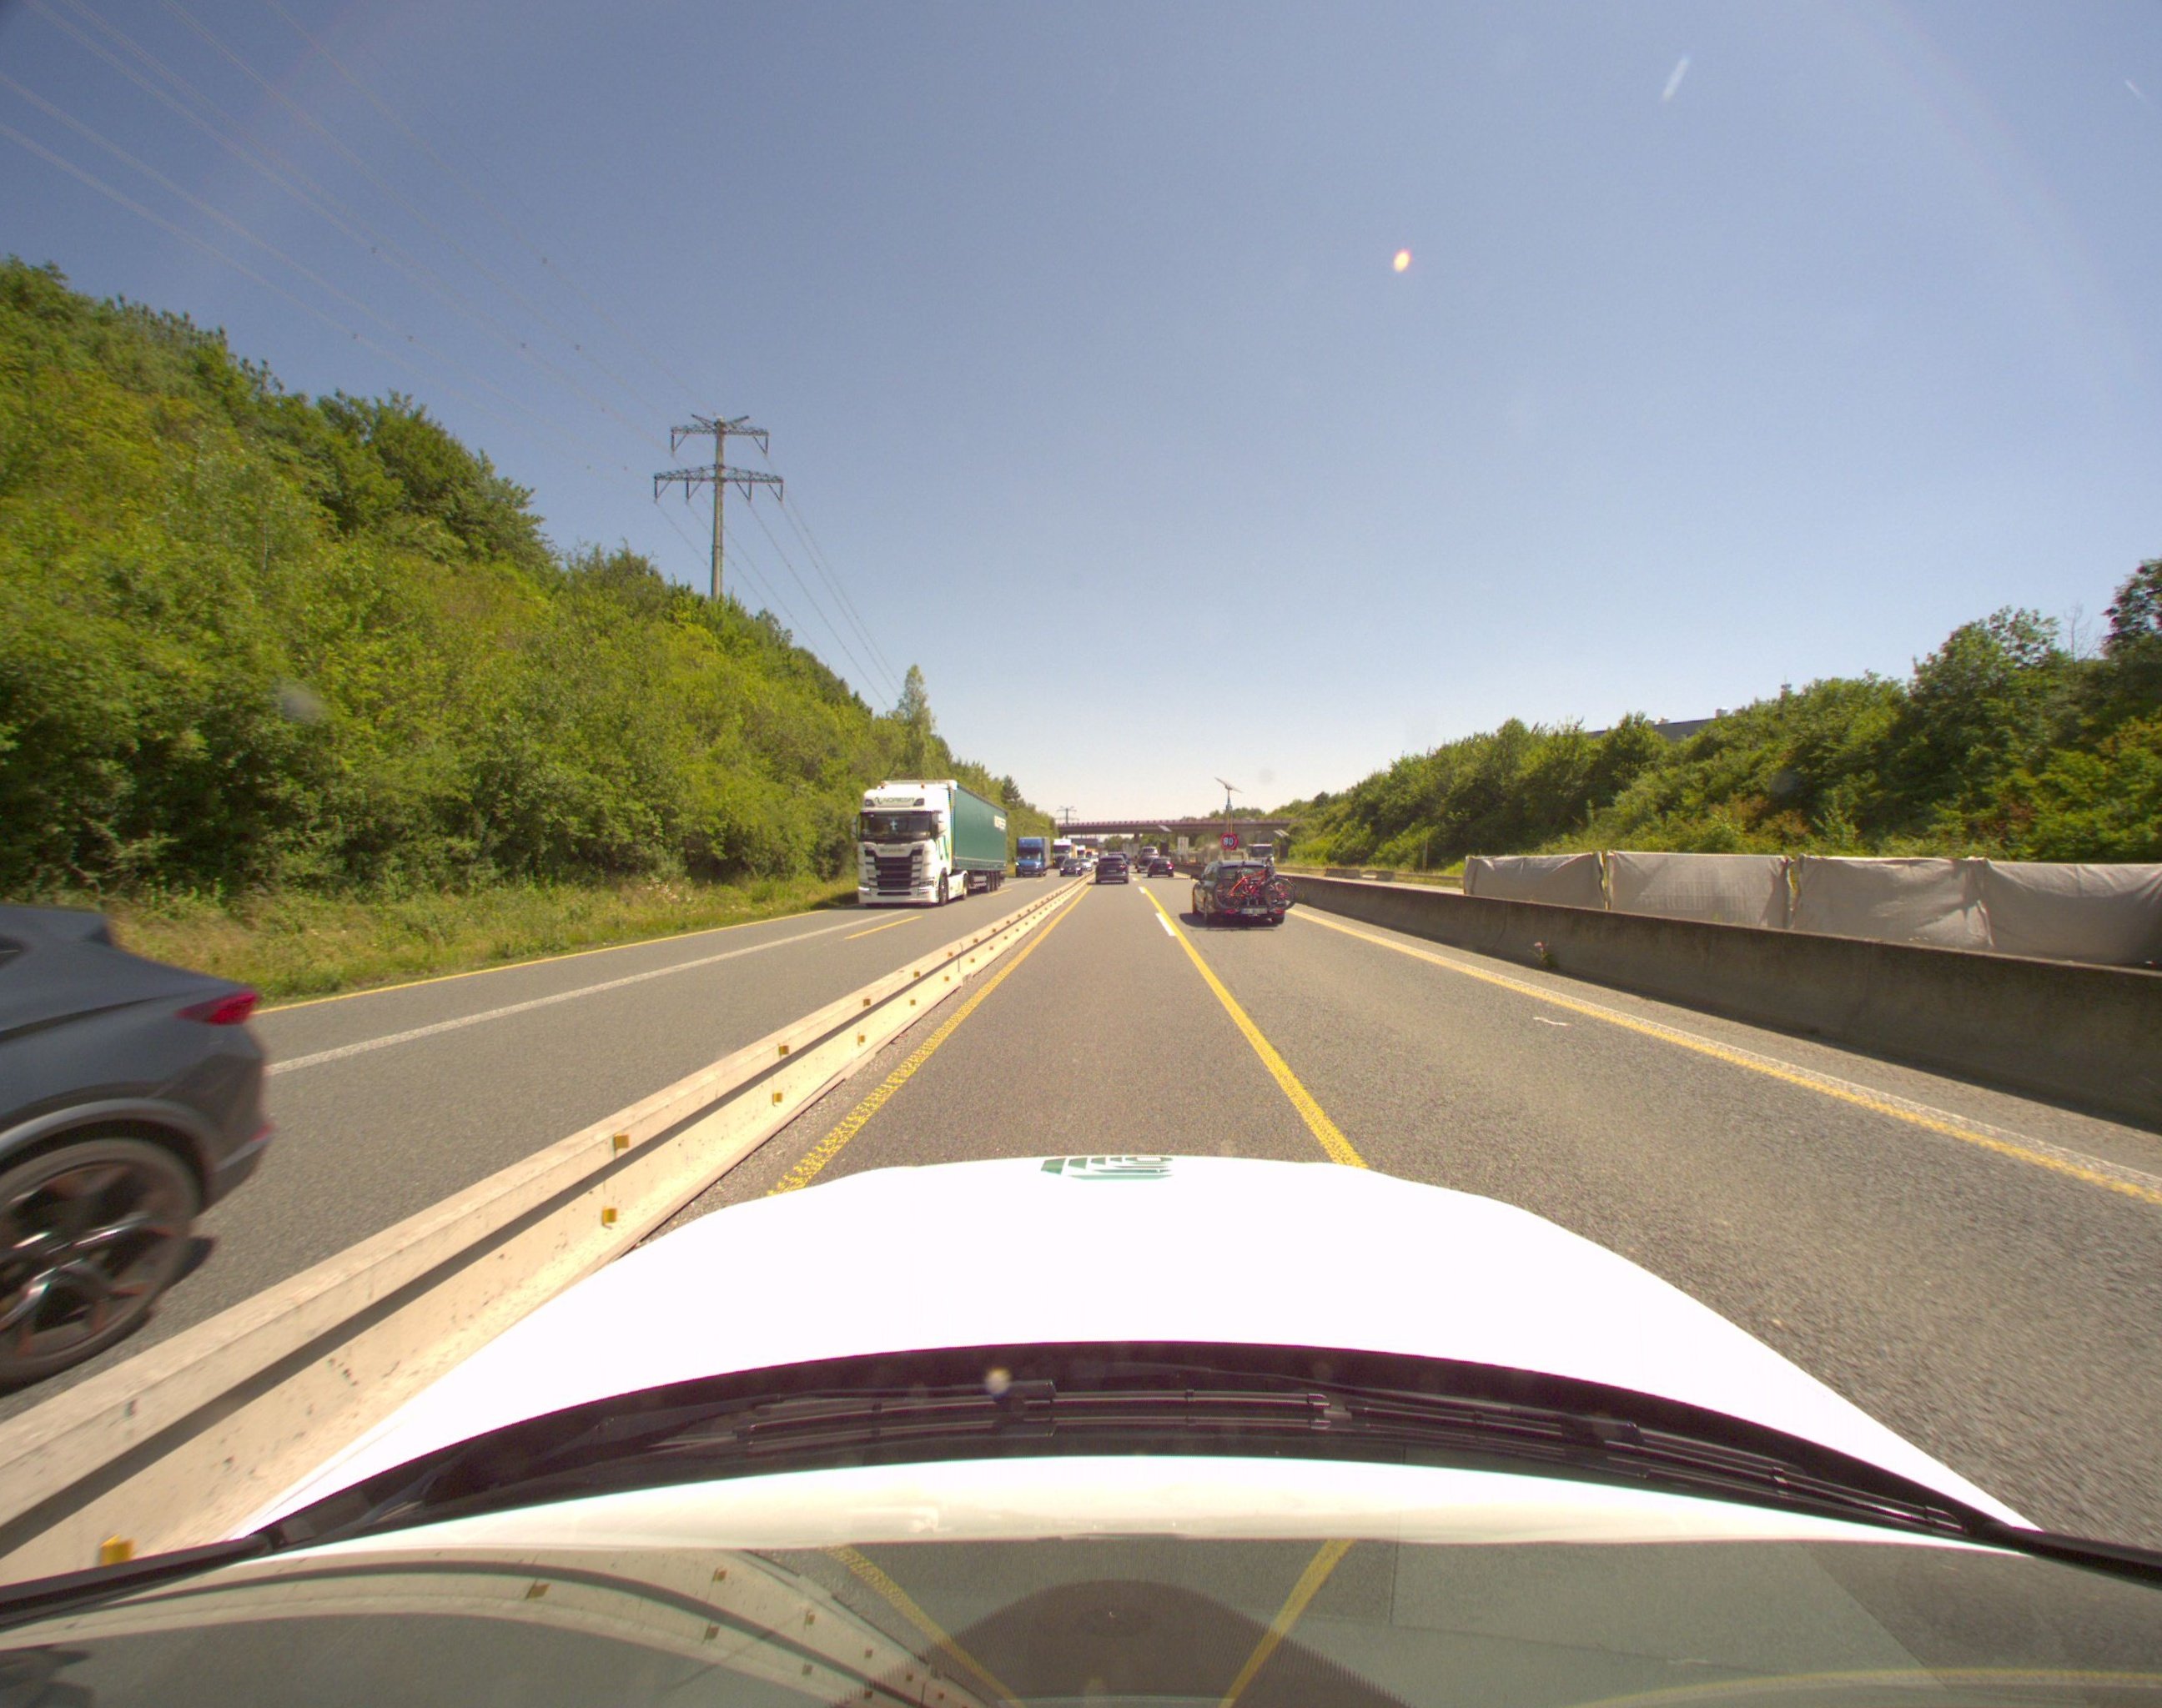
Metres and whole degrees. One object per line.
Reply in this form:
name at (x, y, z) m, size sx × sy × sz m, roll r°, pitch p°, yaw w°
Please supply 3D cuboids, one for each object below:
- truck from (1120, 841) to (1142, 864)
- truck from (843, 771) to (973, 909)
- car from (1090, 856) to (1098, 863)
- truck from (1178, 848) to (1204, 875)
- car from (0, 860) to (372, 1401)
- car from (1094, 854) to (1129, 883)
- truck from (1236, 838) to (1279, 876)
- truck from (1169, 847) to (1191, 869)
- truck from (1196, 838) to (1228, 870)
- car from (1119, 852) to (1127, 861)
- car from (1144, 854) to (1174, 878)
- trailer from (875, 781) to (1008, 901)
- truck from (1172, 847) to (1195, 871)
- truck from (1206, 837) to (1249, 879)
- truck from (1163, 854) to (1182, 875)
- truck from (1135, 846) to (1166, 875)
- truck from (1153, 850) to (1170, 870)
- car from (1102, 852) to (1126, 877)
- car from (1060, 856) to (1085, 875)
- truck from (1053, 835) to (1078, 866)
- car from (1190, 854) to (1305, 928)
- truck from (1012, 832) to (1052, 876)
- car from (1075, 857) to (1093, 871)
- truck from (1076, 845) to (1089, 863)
truck at (8.948, -0.265, 146.214) m, size 3.282 × 3.845 × 10.108 m, roll -1°, pitch 0°, yaw 0°
truck at (-5.659, -0.418, 27.774) m, size 2.883 × 4.118 × 6.023 m, roll -1°, pitch 0°, yaw 2°
car at (3.157, 1.373, 194.753) m, size 1.818 × 1.631 × 4.152 m, roll -1°, pitch -1°, yaw 2°
truck at (15.388, 1.054, 114.175) m, size 2.677 × 3.557 × 9.608 m, roll -1°, pitch 0°, yaw 2°
car at (-3.994, 0.770, 1.288) m, size 1.892 × 1.505 × 4.278 m, roll 0°, pitch 0°, yaw 2°
car at (1.745, 0.798, 45.939) m, size 1.891 × 1.505 × 4.279 m, roll 0°, pitch 0°, yaw 3°
truck at (17.405, 0.311, 80.862) m, size 2.677 × 3.511 × 8.384 m, roll -1°, pitch 0°, yaw 2°
truck at (16.658, 0.669, 137.796) m, size 2.677 × 3.557 × 9.327 m, roll -1°, pitch 0°, yaw 1°
truck at (15.318, -0.025, 95.849) m, size 2.529 × 3.557 × 9.607 m, roll -1°, pitch 0°, yaw 2°
car at (9.344, 0.609, 180.782) m, size 1.891 × 1.969 × 4.279 m, roll 0°, pitch 0°, yaw 3°
car at (5.585, 0.848, 58.625) m, size 1.892 × 1.585 × 4.279 m, roll 0°, pitch 0°, yaw 2°
trailer at (-5.394, -0.413, 34.645) m, size 2.880 × 4.125 × 13.251 m, roll 0°, pitch 0°, yaw 2°
truck at (15.671, 0.799, 125.400) m, size 2.676 × 3.557 × 9.411 m, roll -1°, pitch 0°, yaw 2°
truck at (13.062, 0.361, 73.367) m, size 2.523 × 3.511 × 9.101 m, roll -1°, pitch 0°, yaw 2°
truck at (16.496, 1.877, 147.085) m, size 2.677 × 3.557 × 9.327 m, roll -1°, pitch 0°, yaw 1°
truck at (6.505, 0.556, 76.985) m, size 2.397 × 2.558 × 7.501 m, roll 0°, pitch 0°, yaw 1°
truck at (16.245, 1.203, 165.250) m, size 2.677 × 3.761 × 9.328 m, roll -1°, pitch 0°, yaw 2°
car at (2.774, 0.847, 67.336) m, size 1.891 × 1.969 × 4.279 m, roll 0°, pitch 0°, yaw 3°
car at (-0.653, 0.911, 66.309) m, size 1.754 × 1.490 × 4.404 m, roll 0°, pitch -1°, yaw 2°
truck at (-2.092, -0.483, 112.219) m, size 2.638 × 3.992 × 9.658 m, roll 1°, pitch 0°, yaw 3°
car at (3.701, 0.775, 18.961) m, size 1.891 × 1.490 × 4.951 m, roll 0°, pitch -1°, yaw 3°
truck at (-3.877, -0.035, 65.932) m, size 2.395 × 3.330 × 7.506 m, roll 0°, pitch 0°, yaw 3°
car at (0.369, 1.112, 89.729) m, size 1.834 × 1.490 × 4.513 m, roll -2°, pitch -1°, yaw 2°
truck at (0.403, 0.015, 179.259) m, size 2.400 × 3.992 × 10.359 m, roll 0°, pitch 0°, yaw 3°
